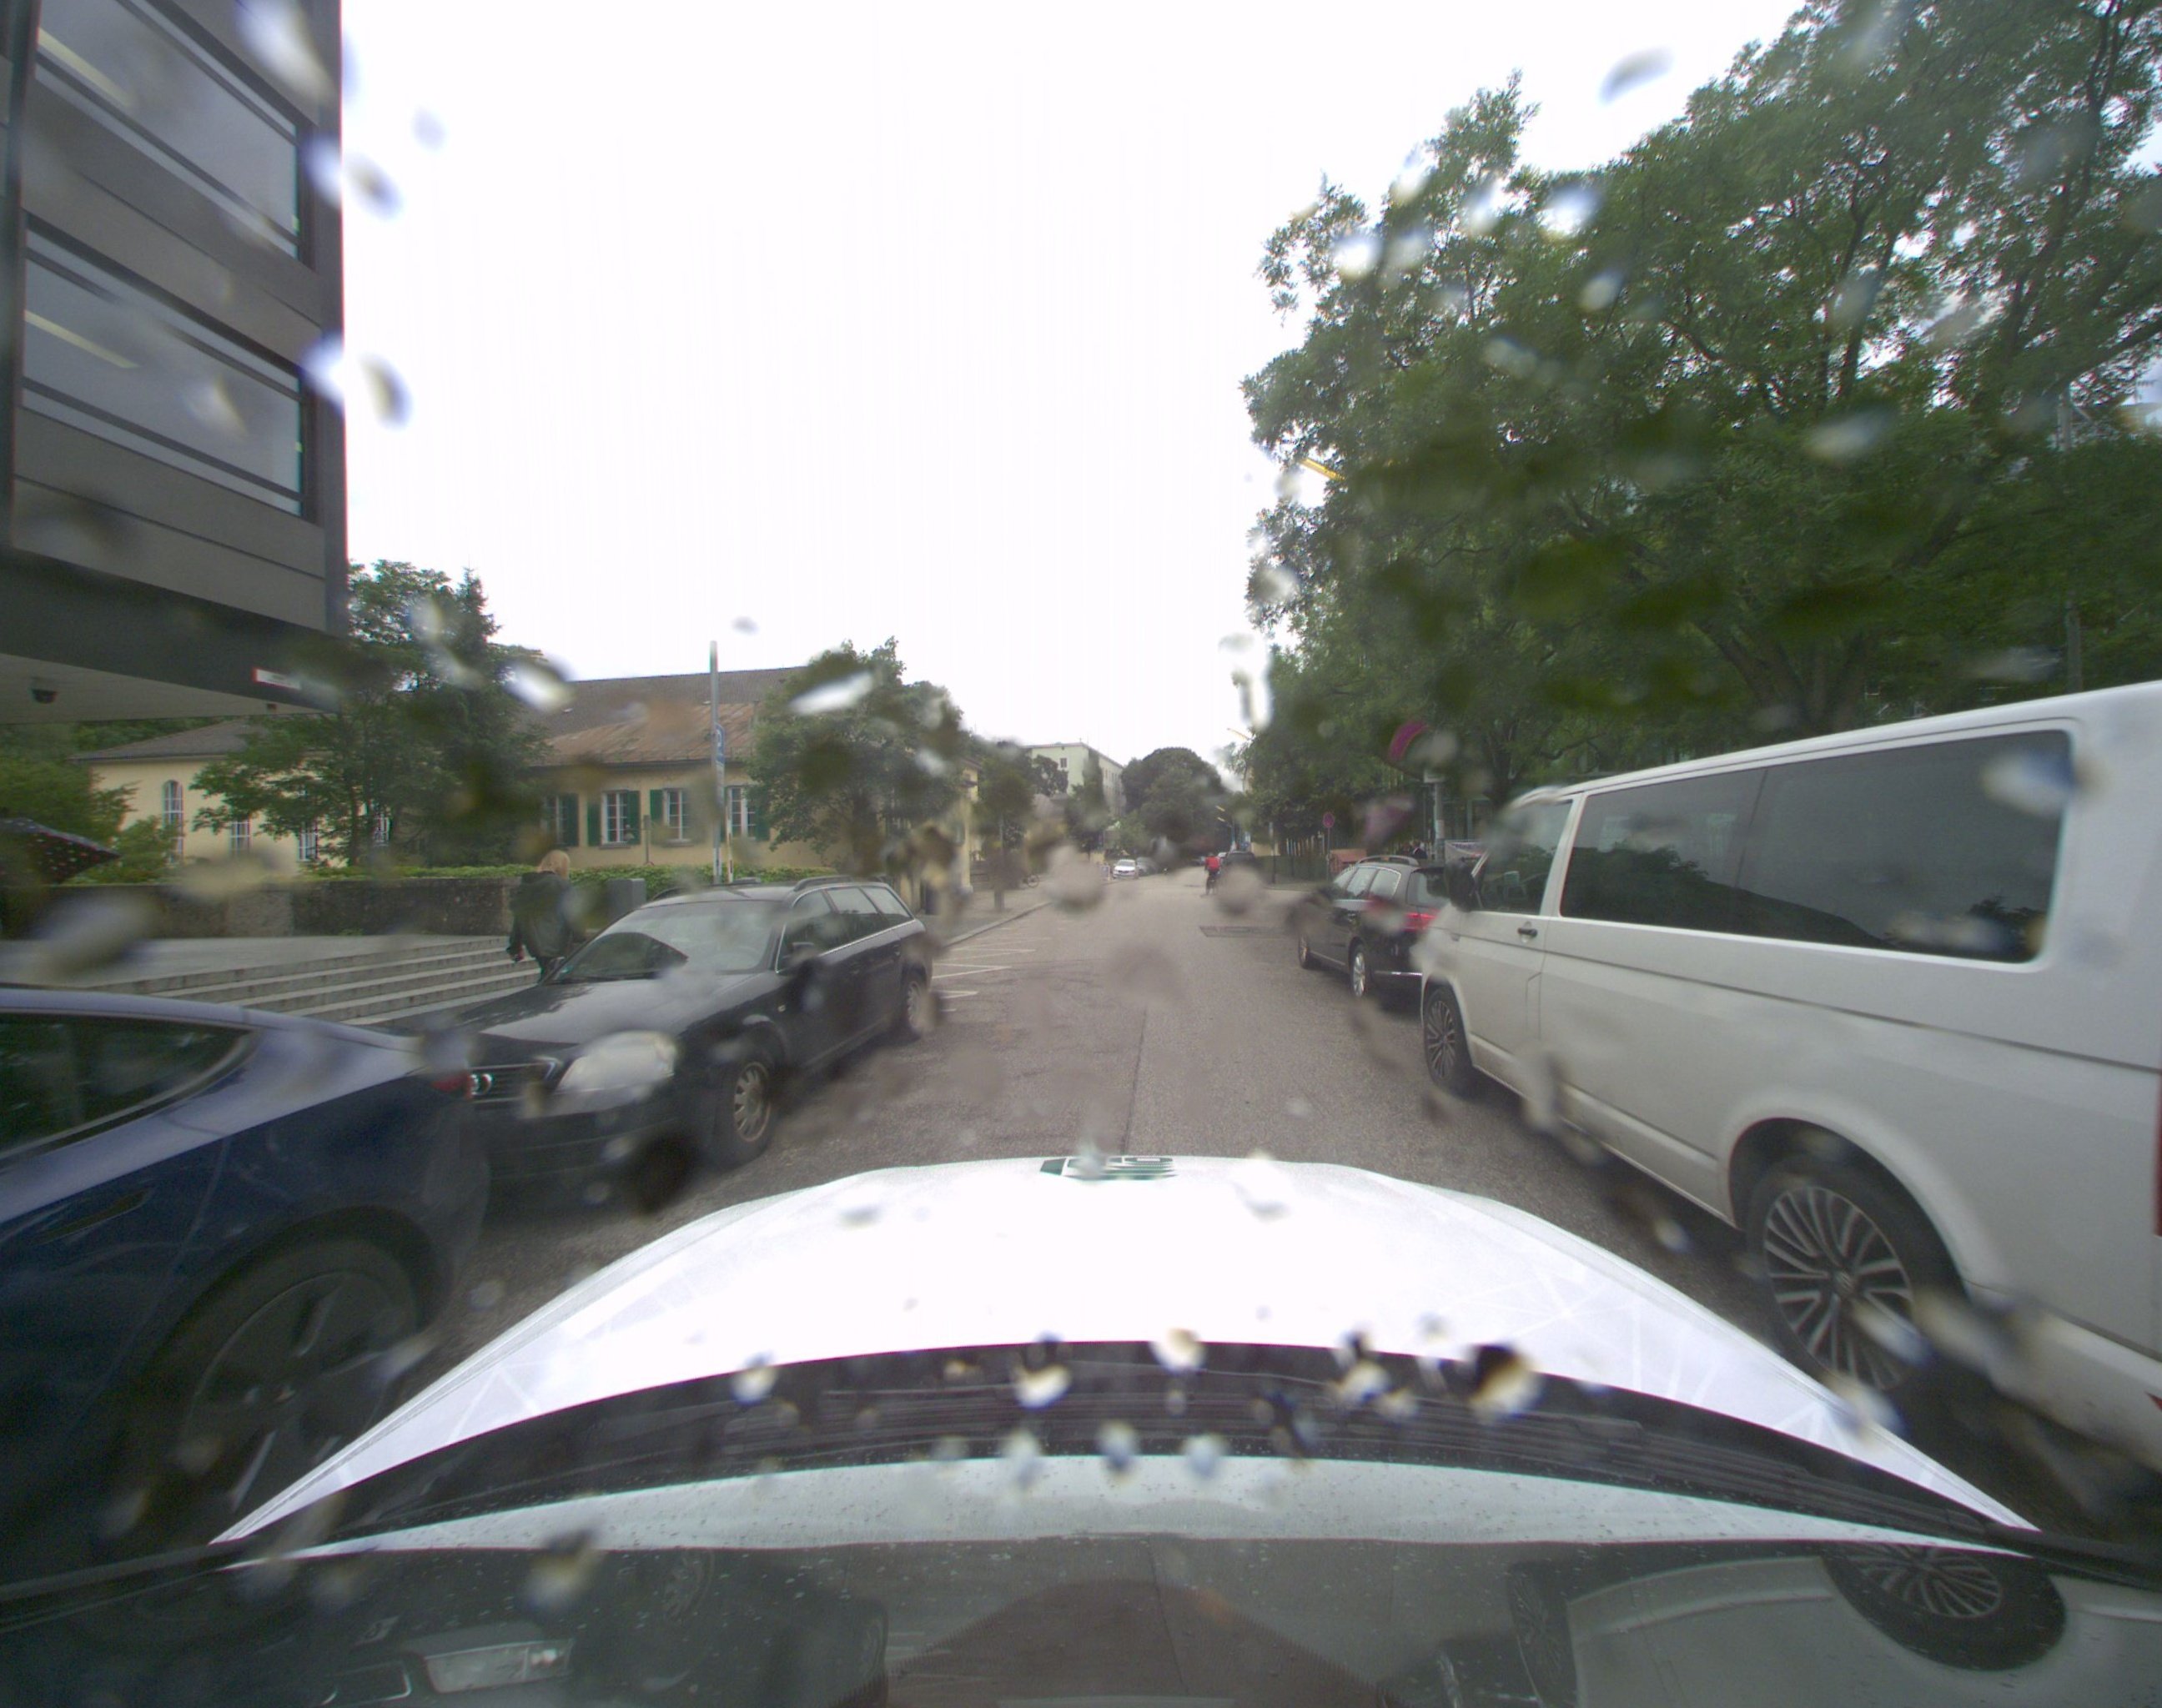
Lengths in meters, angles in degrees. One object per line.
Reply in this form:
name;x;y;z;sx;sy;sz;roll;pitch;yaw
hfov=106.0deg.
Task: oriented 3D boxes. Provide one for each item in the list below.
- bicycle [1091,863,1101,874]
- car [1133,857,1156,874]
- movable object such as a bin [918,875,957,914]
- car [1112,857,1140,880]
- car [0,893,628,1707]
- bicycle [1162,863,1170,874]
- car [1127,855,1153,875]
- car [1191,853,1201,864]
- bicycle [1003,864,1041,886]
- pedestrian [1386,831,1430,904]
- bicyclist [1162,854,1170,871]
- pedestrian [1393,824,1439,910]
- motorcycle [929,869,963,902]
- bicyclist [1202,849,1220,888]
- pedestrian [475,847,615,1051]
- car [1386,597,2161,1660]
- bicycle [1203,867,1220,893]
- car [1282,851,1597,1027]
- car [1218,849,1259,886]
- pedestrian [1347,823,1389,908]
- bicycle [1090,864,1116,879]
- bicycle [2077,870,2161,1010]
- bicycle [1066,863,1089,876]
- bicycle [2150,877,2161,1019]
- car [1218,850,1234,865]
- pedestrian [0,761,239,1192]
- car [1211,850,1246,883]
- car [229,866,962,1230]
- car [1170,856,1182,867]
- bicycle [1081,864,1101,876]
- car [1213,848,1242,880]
bicycle;1.379;1.299;73.693;0.617;1.004;1.624;-1;-2;12
car;6.229;1.131;79.212;1.983;1.603;4.008;-1;-1;7
movable object such as a bin;-4.203;1.177;23.869;0.931;1.063;0.841;-1;0;3
car;3.440;1.060;61.698;1.723;1.581;3.797;2;0;9
car;-2.907;0.892;0.726;1.914;1.439;4.923;-3;-1;4
bicycle;7.789;1.317;74.688;0.618;1.004;2.143;-1;0;5
car;5.408;0.980;74.178;1.982;1.648;4.666;-1;0;9
car;23.269;0.932;165.007;1.982;2.099;4.009;2;0;8
bicycle;-3.096;1.103;42.803;1.919;1.099;0.616;1;0;8
pedestrian;8.820;0.362;21.950;0.735;1.907;1.062;-2;-1;41
bicyclist;7.829;0.758;74.818;0.739;1.576;0.979;-1;0;6
pedestrian;8.520;0.328;20.758;0.739;2.135;1.057;-2;-1;5
motorcycle;-4.803;1.094;28.898;0.560;1.101;1.820;1;0;-31
bicyclist;5.130;0.591;32.096;0.667;1.498;1.097;-1;-2;9
pedestrian;-4.928;0.821;7.562;0.753;1.749;0.949;-1;-1;-10
car;3.084;0.521;3.635;1.836;1.933;5.279;2;0;5
bicycle;5.152;1.020;32.183;0.618;1.004;2.145;-1;-2;9
car;3.739;0.736;9.590;1.763;1.490;4.978;1;0;3
car;8.117;0.665;42.208;1.751;1.823;4.146;0;0;6
pedestrian;7.447;0.285;21.172;0.739;2.135;1.057;-2;-1;5
bicycle;1.567;1.225;57.337;0.615;1.004;2.153;2;0;39
bicycle;9.740;0.687;6.842;1.921;1.113;0.472;-2;-1;7
bicycle;-0.281;1.185;61.910;1.618;0.926;0.647;-1;-2;-19
bicycle;9.392;0.699;6.080;1.921;1.113;0.472;-2;-1;7
car;20.529;0.491;115.572;1.983;2.060;4.632;-1;0;6
pedestrian;-5.692;0.602;4.315;1.130;2.055;1.223;-2;-1;5
car;8.463;0.683;47.029;1.852;1.794;4.520;-1;0;9
car;-2.528;0.902;5.984;1.983;1.491;4.892;-3;-1;7
car;14.900;1.153;127.880;1.800;1.683;4.009;-1;0;8
bicycle;0.848;1.344;68.278;1.623;1.004;0.618;0;-2;-28
car;9.544;0.613;53.171;1.739;1.943;4.239;-1;0;9
